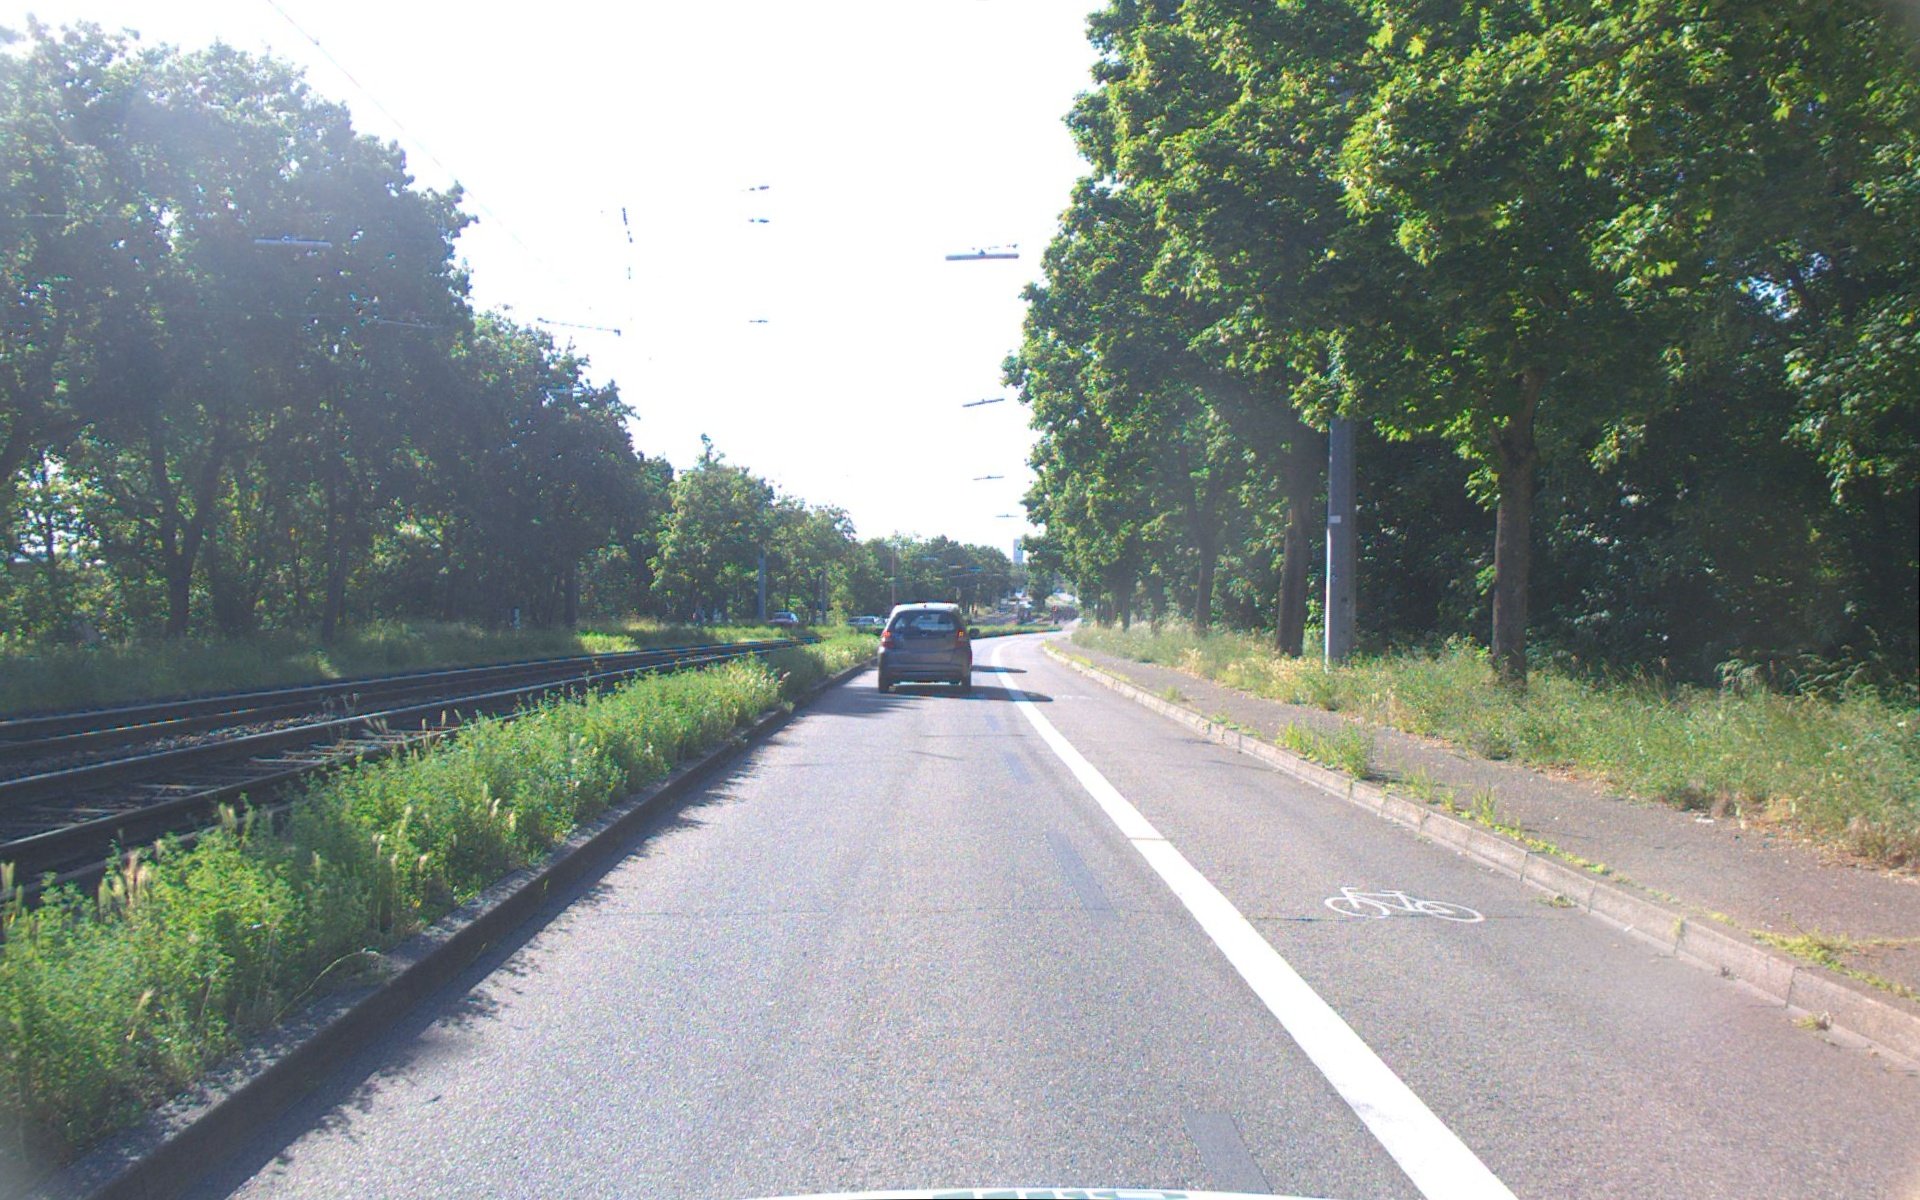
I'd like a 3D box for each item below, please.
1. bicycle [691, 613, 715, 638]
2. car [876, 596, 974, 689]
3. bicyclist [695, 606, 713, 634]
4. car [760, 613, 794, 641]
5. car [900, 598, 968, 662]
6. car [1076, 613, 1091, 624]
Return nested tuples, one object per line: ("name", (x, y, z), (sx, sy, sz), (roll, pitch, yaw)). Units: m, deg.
("bicycle", (-14.568, 1.455, 93.826), (0.772, 1.216, 3.170), (2, 2, 2))
("car", (-0.616, 0.731, 30.052), (1.636, 1.534, 3.810), (2, -1, -1))
("bicyclist", (-14.550, 1.113, 94.000), (0.773, 1.515, 1.109), (2, 2, 2))
("car", (-14.182, 2.064, 128.352), (1.952, 1.908, 4.002), (2, 2, 2))
("car", (-0.659, 0.735, 42.386), (1.621, 1.534, 3.810), (2, 0, -1))
("car", (18.578, 2.788, 248.615), (1.619, 1.336, 3.815), (2, 2, 11))
